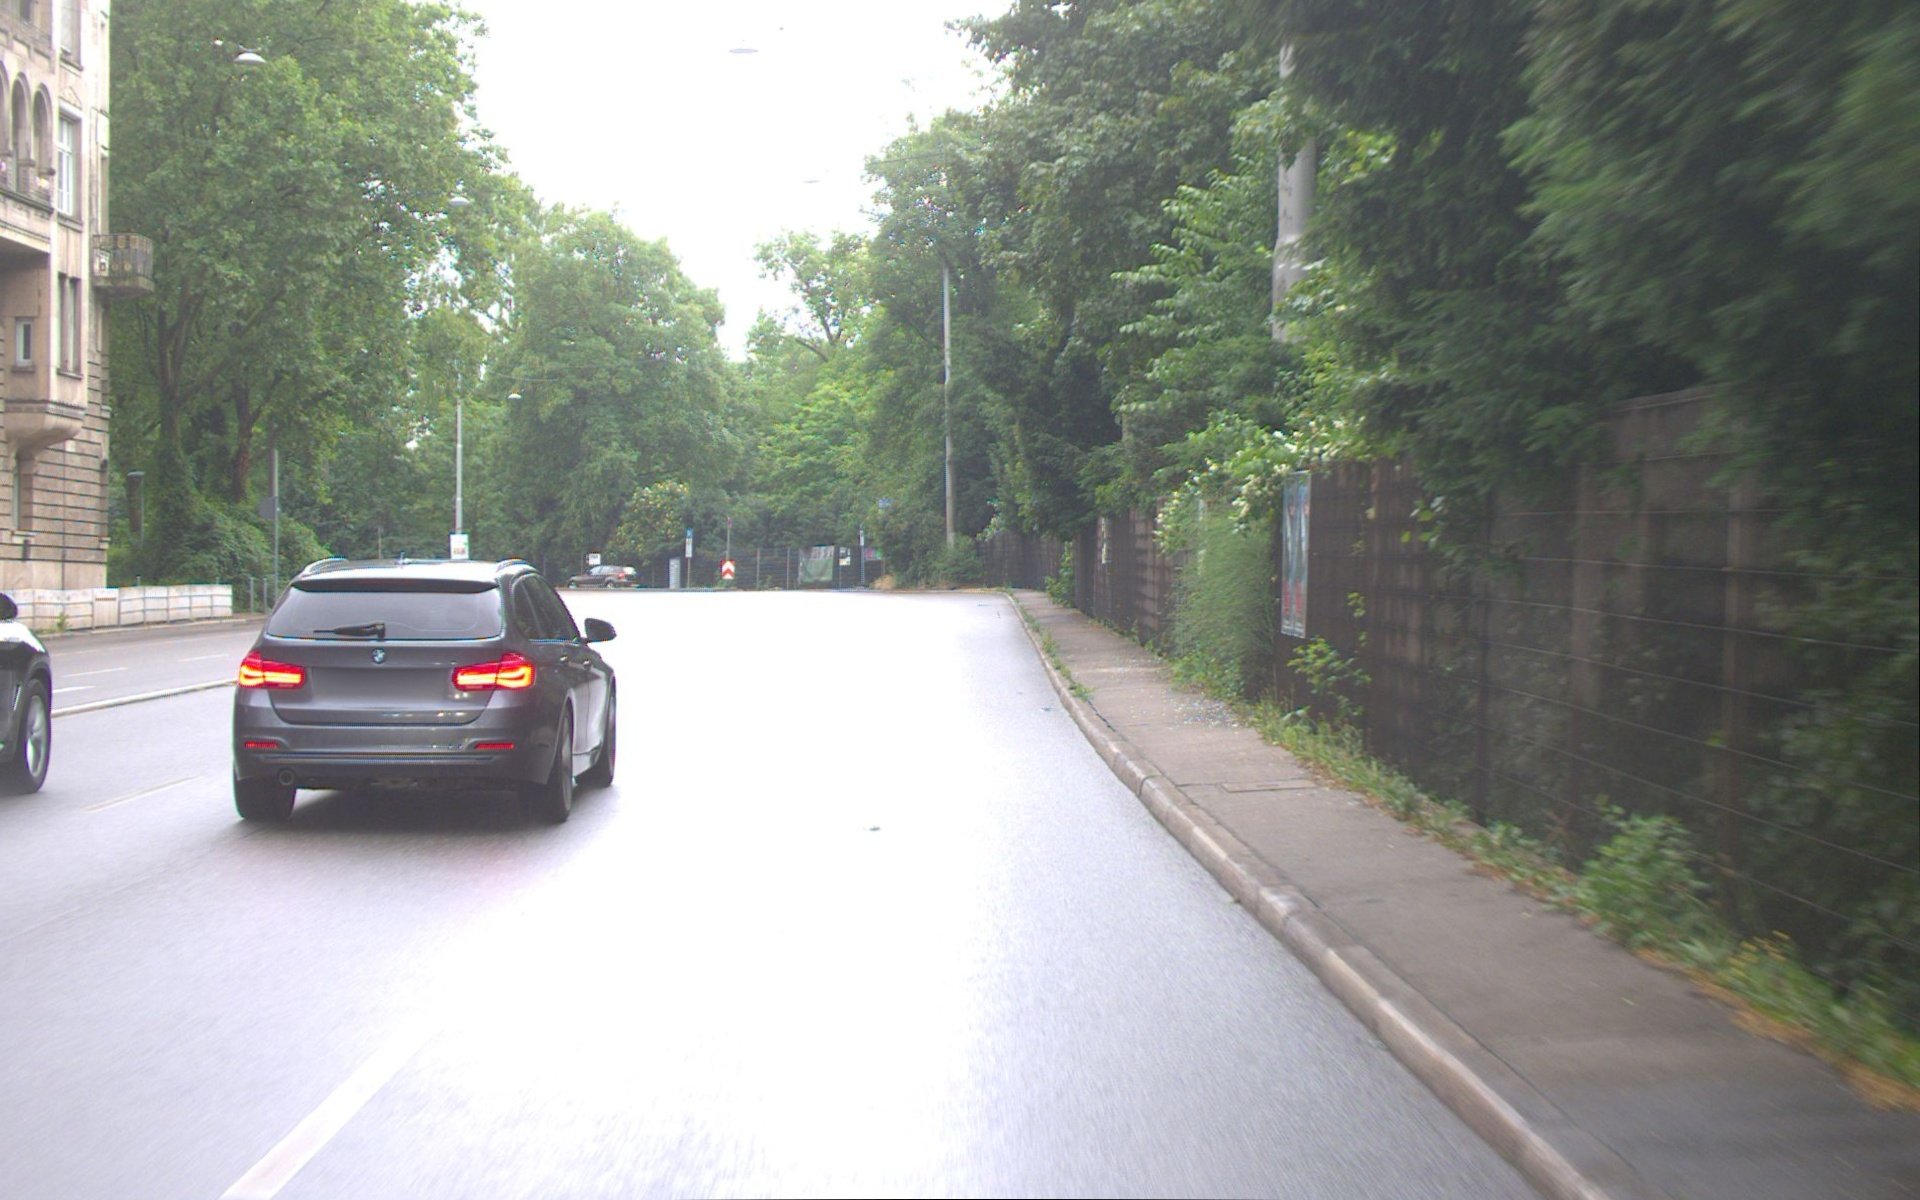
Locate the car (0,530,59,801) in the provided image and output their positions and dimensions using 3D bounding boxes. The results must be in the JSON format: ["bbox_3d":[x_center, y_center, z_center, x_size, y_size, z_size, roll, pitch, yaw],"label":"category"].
[{"bbox_3d":[-6.458,0.382,19.166,1.757,1.580,4.413,1,1,-1],"label":"car"}]

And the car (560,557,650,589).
[{"bbox_3d":[-16.607,-1.267,160.670,4.368,1.422,1.688,1,-2,43],"label":"car"}]

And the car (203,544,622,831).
[{"bbox_3d":[-3.052,0.425,19.998,1.757,1.427,4.413,2,1,-1],"label":"car"}]
